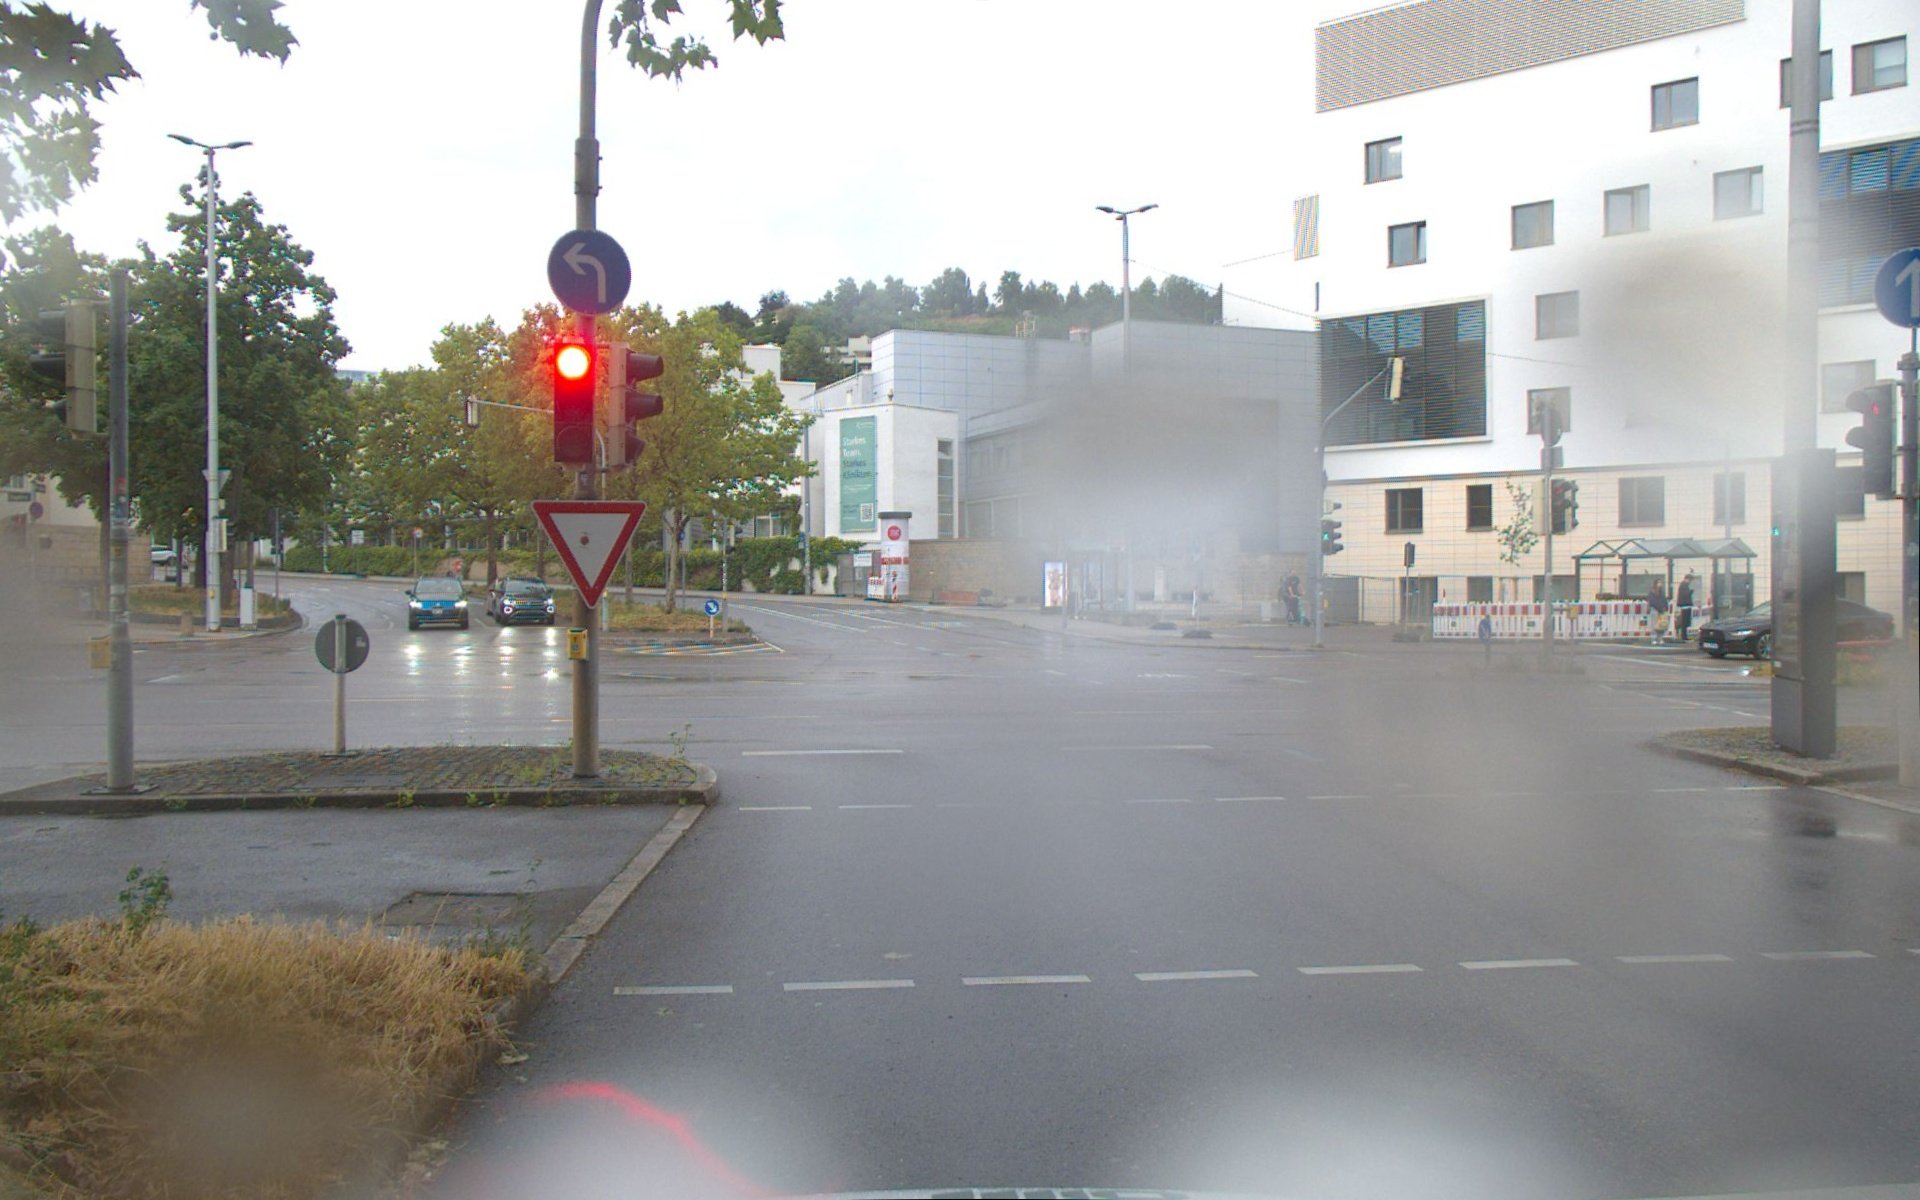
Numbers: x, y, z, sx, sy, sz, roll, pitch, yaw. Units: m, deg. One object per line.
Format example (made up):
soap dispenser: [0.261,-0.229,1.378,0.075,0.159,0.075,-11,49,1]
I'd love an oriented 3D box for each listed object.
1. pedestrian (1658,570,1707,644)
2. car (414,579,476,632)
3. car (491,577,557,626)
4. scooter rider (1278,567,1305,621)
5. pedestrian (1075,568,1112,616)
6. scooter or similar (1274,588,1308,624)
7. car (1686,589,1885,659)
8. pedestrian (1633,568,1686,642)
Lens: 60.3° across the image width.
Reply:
pedestrian: [19.505,0.195,44.669,0.980,1.969,0.955,1,-1,9]
car: [-16.667,0.140,53.519,1.839,1.591,4.255,-1,2,-18]
car: [-15.188,0.032,57.489,1.764,1.612,3.973,0,1,-22]
scooter rider: [12.054,-0.215,60.098,0.713,1.916,0.628,2,-1,-21]
pedestrian: [4.967,-0.290,61.794,1.232,1.749,1.016,1,-1,-2]
scooter or similar: [12.031,0.224,60.166,0.582,1.260,1.305,2,-1,-22]
car: [19.080,0.547,38.276,3.921,1.469,1.790,2,0,-16]
pedestrian: [18.007,0.140,42.585,0.934,1.872,0.821,2,-1,-12]
